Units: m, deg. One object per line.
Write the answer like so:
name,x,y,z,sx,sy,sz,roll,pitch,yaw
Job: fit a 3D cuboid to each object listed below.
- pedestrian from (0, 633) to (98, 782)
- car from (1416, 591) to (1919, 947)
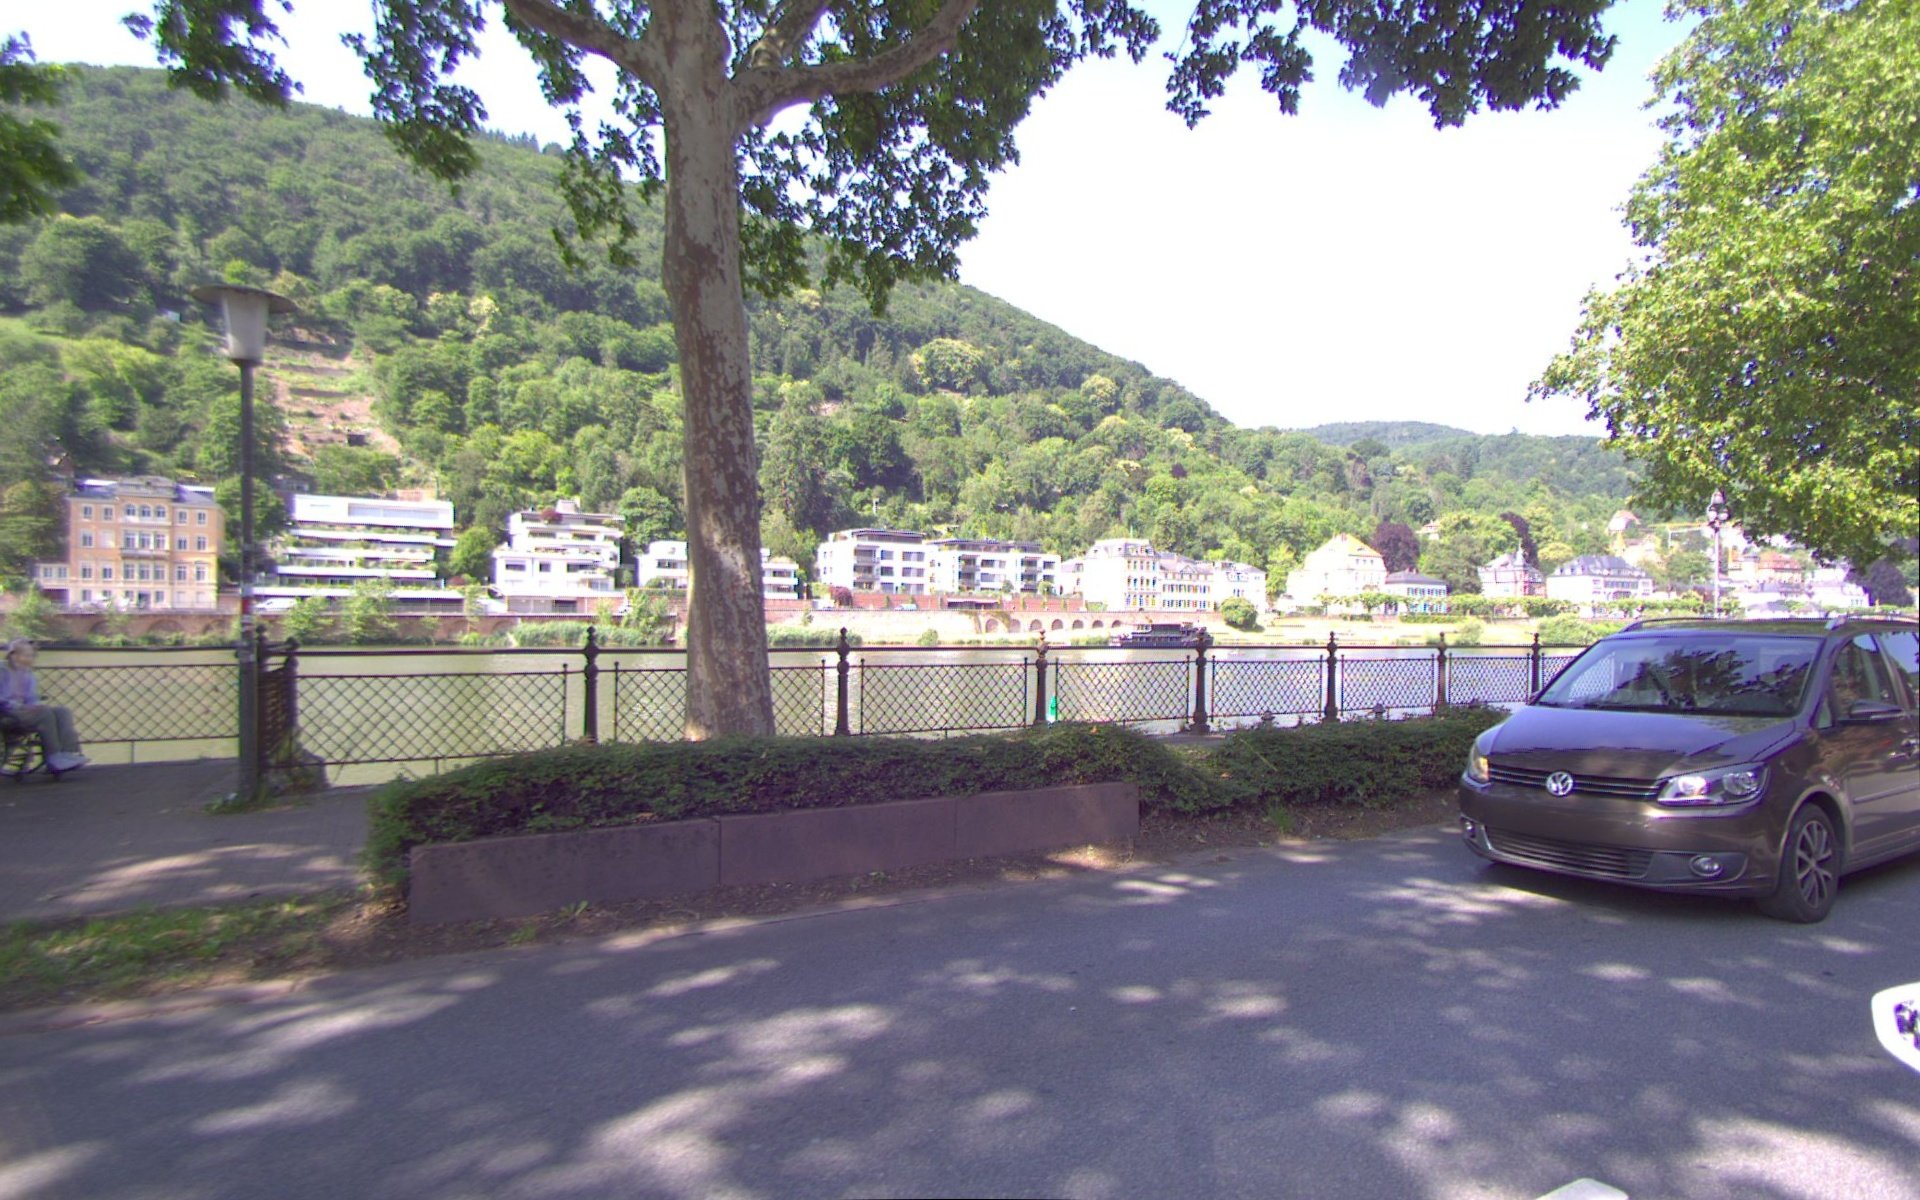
pedestrian,-7.742,0.872,8.385,0.687,1.193,0.607,1,-2,-29
car,5.021,0.858,6.511,4.041,1.669,1.755,1,-2,-30
